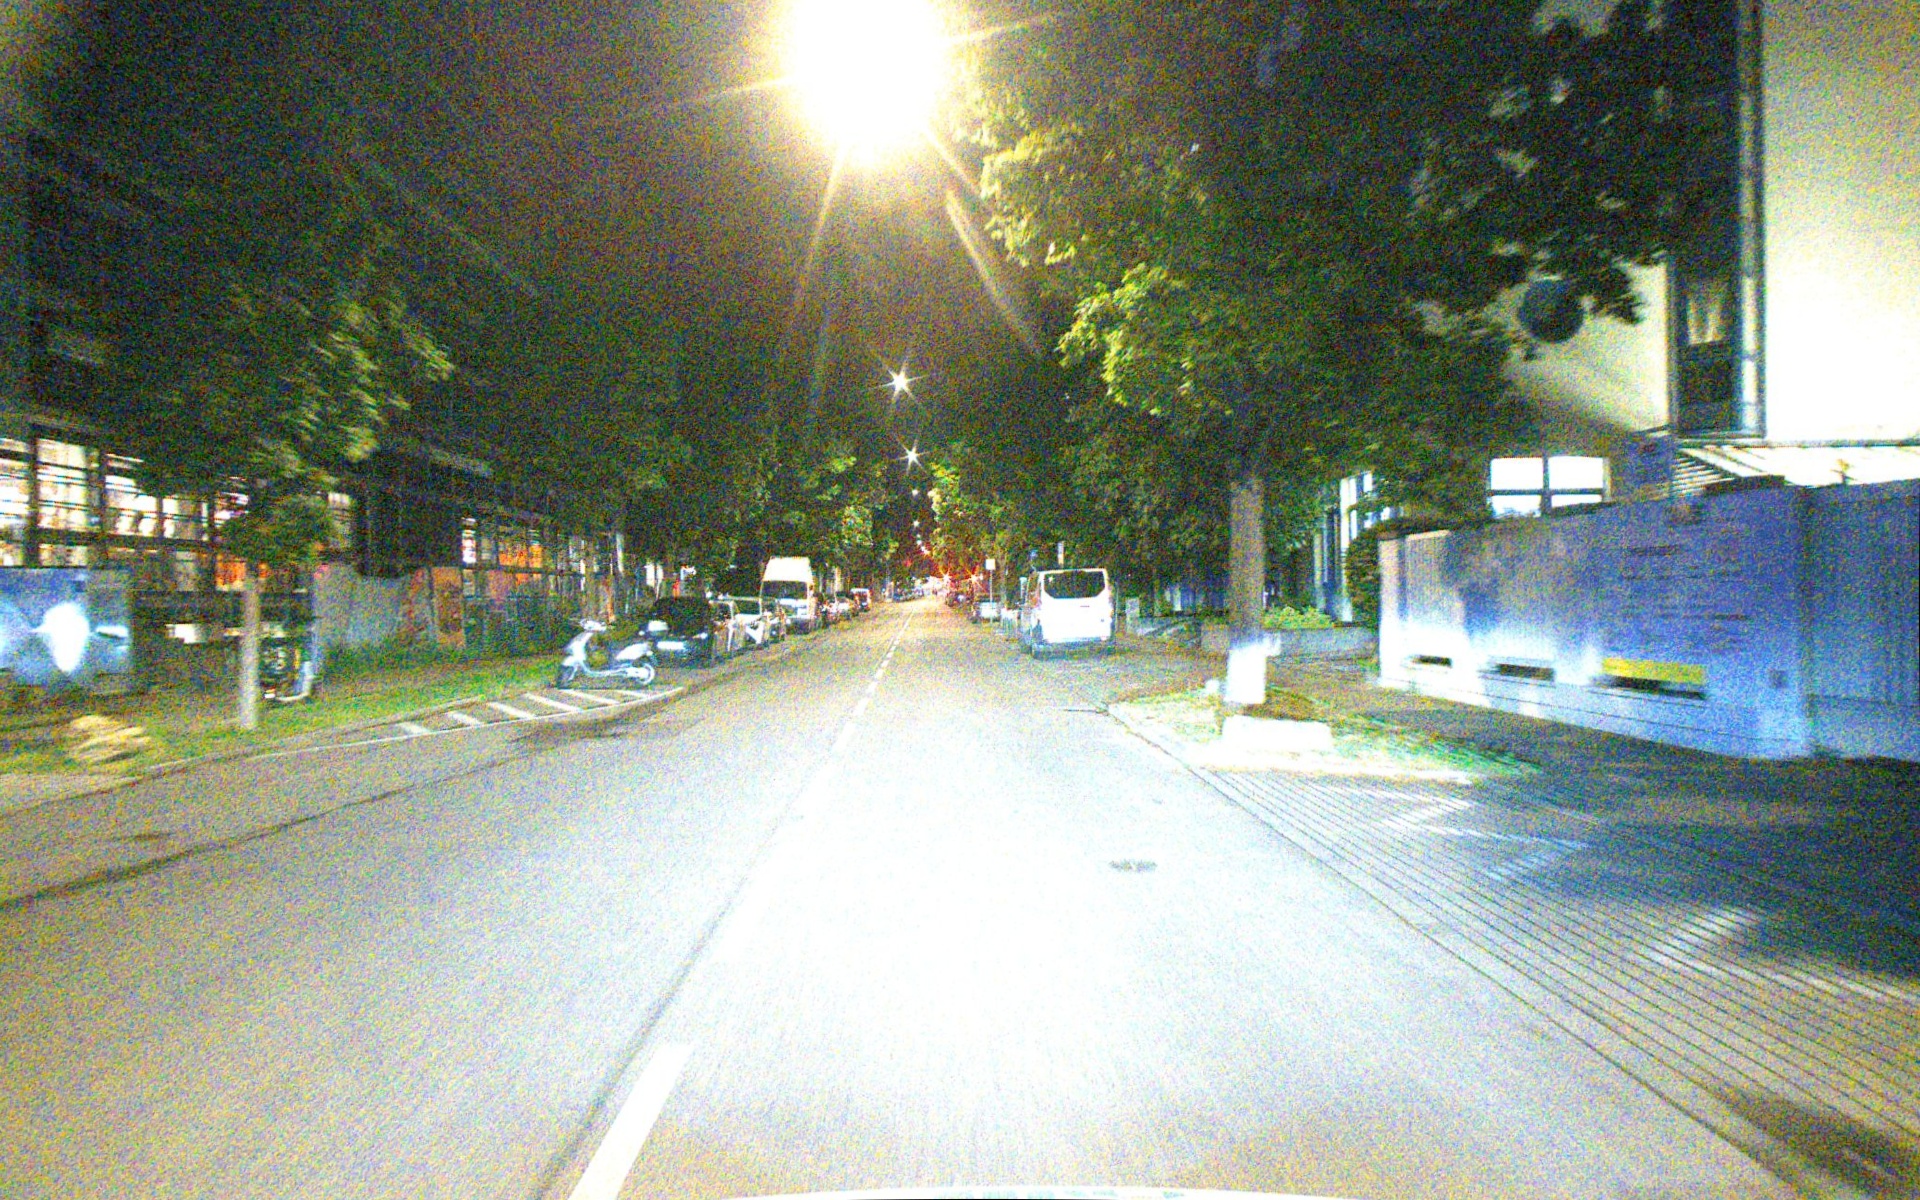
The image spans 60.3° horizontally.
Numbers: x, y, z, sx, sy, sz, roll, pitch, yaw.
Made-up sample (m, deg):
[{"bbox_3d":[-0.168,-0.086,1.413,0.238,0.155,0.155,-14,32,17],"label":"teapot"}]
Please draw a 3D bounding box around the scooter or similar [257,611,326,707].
[{"bbox_3d":[-8.970,0.771,22.231,0.359,1.225,1.427,-1,0,-1],"label":"scooter or similar"}]

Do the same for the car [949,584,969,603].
[{"bbox_3d":[-0.119,-0.604,152.139,1.815,1.683,4.208,0,0,-1],"label":"car"}]

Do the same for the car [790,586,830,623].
[{"bbox_3d":[-6.899,0.193,76.398,1.707,1.634,4.296,0,1,-3],"label":"car"}]

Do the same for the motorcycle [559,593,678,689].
[{"bbox_3d":[-5.769,0.687,27.924,1.874,1.577,0.635,1,0,-21],"label":"motorcycle"}]

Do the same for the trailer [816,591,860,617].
[{"bbox_3d":[-6.922,0.216,94.161,2.067,1.358,5.435,2,0,0],"label":"trailer"}]

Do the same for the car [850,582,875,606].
[{"bbox_3d":[-8.189,-0.520,138.869,1.785,1.843,4.210,3,0,0],"label":"car"}]

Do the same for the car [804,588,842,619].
[{"bbox_3d":[-7.174,0.180,86.891,1.682,1.528,4.204,2,0,-2],"label":"car"}]

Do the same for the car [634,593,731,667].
[{"bbox_3d":[-6.173,0.634,37.168,1.609,1.530,3.902,2,0,-2],"label":"car"}]

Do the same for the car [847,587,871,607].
[{"bbox_3d":[-7.978,-0.262,130.944,1.665,1.458,3.828,3,0,0],"label":"car"}]

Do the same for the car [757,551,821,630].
[{"bbox_3d":[-6.686,-0.359,65.144,2.135,2.960,4.908,1,0,-2],"label":"car"}]

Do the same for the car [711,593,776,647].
[{"bbox_3d":[-6.269,0.556,48.187,1.516,1.480,3.367,1,0,-2],"label":"car"}]

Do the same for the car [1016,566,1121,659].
[{"bbox_3d":[2.511,0.253,39.384,1.912,1.998,4.601,-3,1,-3],"label":"car"}]

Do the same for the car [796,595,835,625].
[{"bbox_3d":[-7.125,0.463,81.832,1.670,1.436,4.632,0,0,-2],"label":"car"}]

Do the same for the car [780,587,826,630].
[{"bbox_3d":[-6.672,0.339,70.551,1.707,1.634,4.114,-1,1,-3],"label":"car"}]

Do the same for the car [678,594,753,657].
[{"bbox_3d":[-6.224,0.619,42.393,1.416,1.454,3.902,2,0,-2],"label":"car"}]

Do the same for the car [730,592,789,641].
[{"bbox_3d":[-6.524,0.524,54.138,1.612,1.531,3.859,0,0,-3],"label":"car"}]

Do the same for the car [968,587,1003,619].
[{"bbox_3d":[1.272,0.145,81.558,1.634,1.454,4.148,-3,0,1],"label":"car"}]
